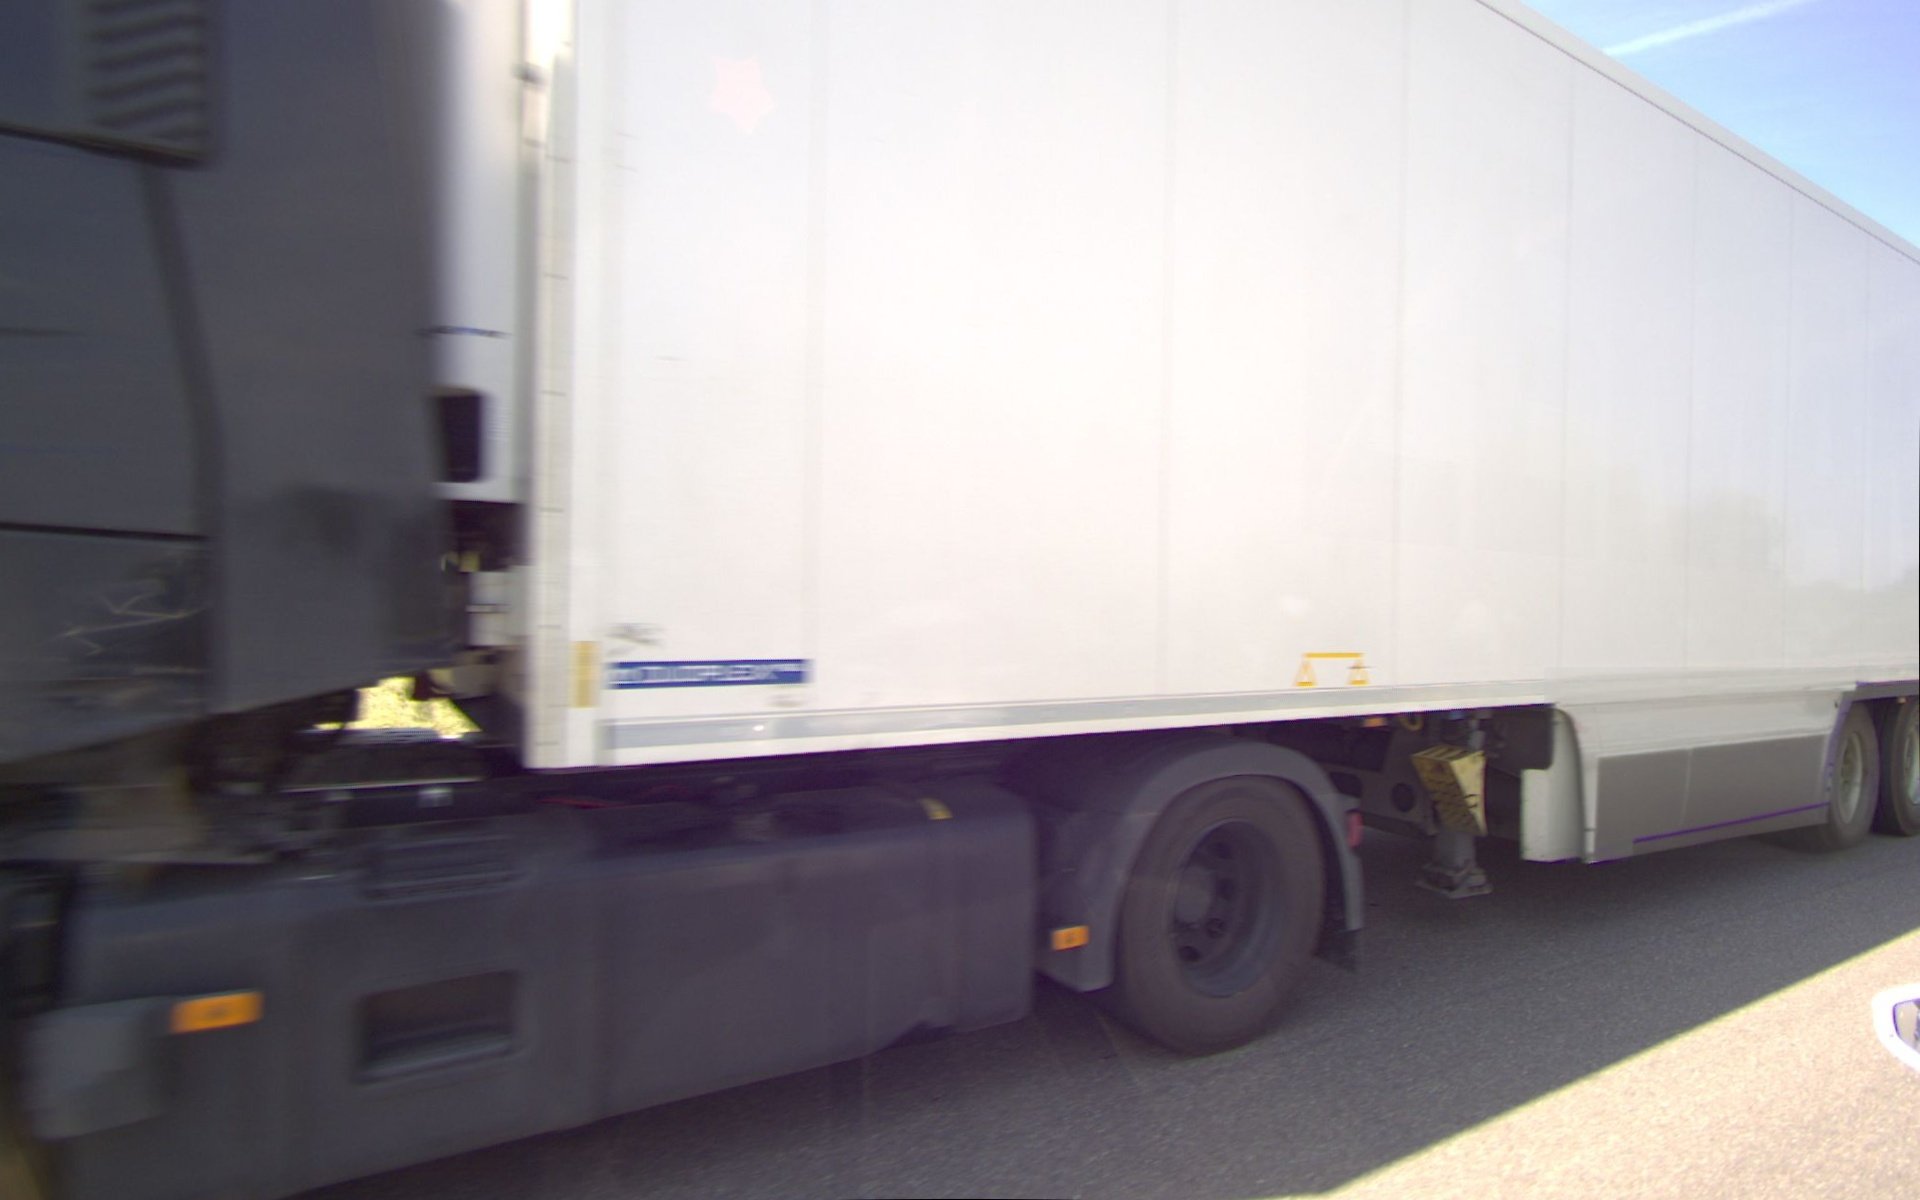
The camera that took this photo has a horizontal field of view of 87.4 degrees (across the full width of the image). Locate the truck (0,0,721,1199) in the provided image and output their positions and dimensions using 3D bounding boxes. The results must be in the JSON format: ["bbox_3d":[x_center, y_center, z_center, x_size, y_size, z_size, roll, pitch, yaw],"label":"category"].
[{"bbox_3d":[-3.703,-0.864,2.271,5.386,4.459,3.355,2,-1,-32],"label":"truck"}]

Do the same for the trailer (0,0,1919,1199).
[{"bbox_3d":[2.522,-0.679,6.243,13.596,4.459,3.354,1,-1,-33],"label":"trailer"}]
